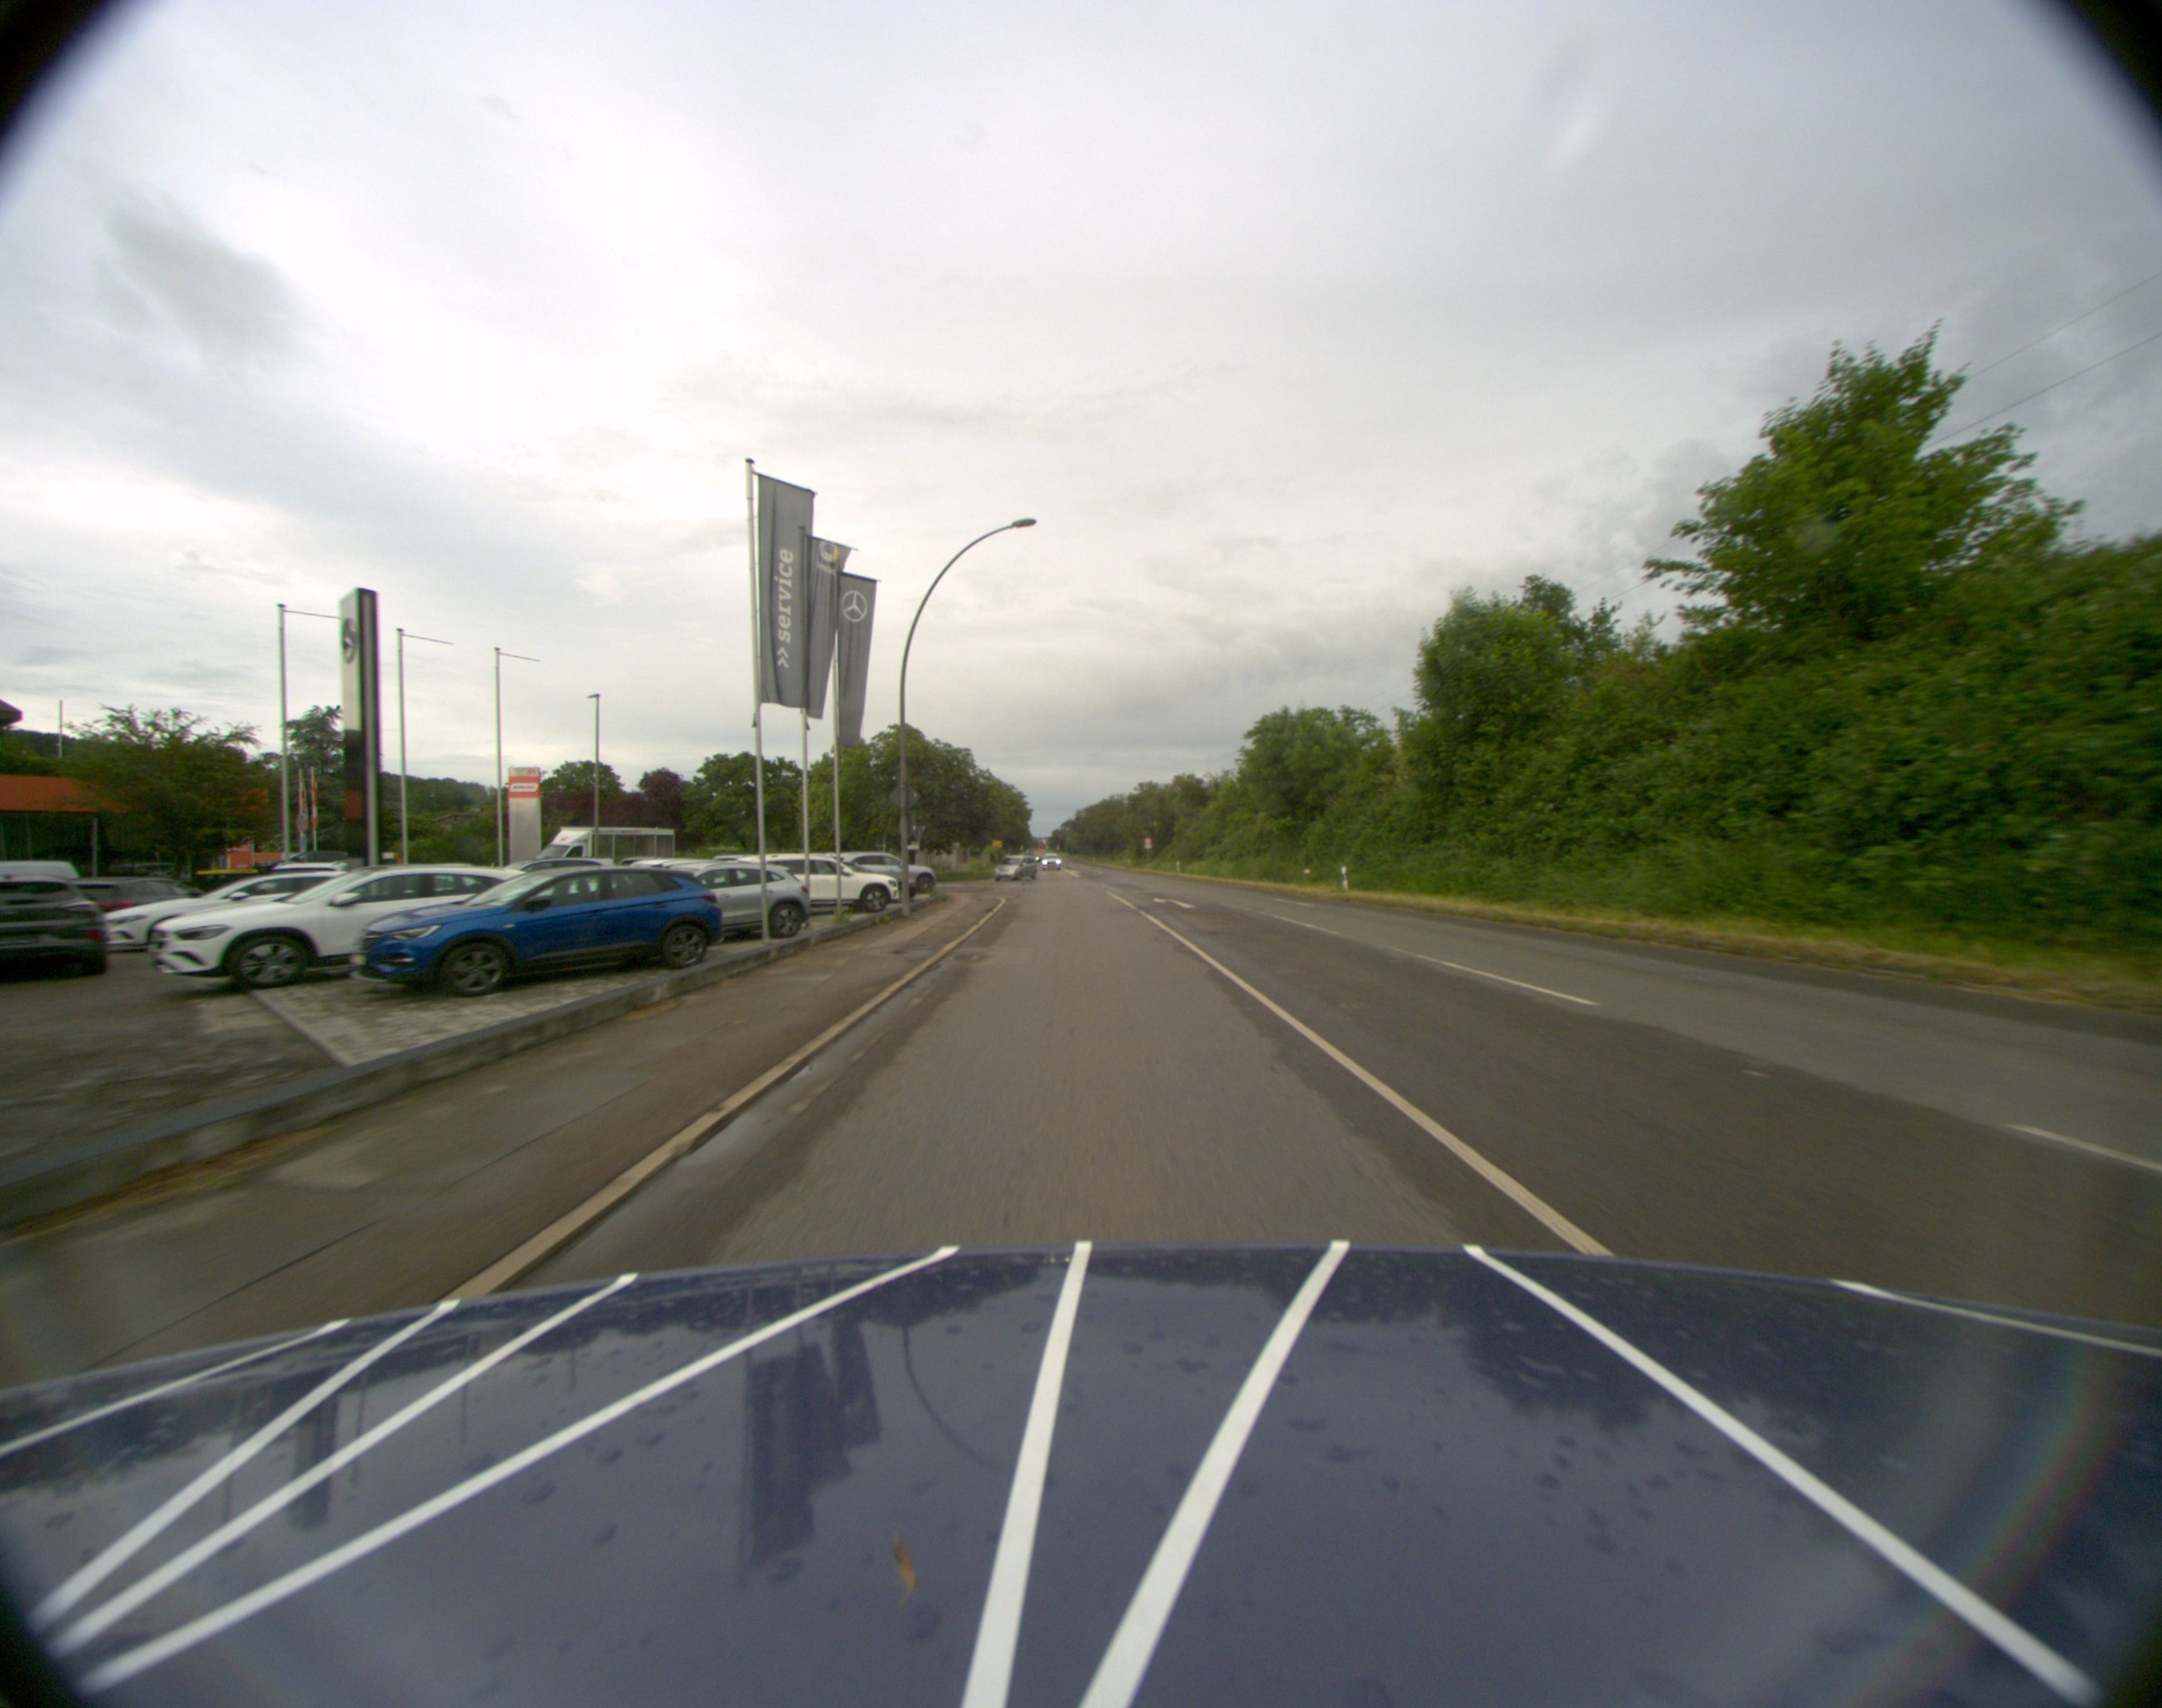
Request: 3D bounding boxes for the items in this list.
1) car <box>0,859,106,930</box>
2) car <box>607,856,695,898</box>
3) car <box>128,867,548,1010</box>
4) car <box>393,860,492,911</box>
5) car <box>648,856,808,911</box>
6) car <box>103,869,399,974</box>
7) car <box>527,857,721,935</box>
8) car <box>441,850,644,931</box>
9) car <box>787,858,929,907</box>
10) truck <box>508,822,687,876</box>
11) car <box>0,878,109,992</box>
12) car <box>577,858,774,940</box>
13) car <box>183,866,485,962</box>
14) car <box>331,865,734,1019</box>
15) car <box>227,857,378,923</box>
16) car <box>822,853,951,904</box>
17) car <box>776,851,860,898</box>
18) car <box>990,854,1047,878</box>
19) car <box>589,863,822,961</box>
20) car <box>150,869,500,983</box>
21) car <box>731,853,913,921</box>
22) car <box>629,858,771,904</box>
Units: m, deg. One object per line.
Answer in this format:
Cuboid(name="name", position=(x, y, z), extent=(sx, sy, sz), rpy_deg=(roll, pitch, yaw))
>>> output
Cuboid(name="car", position=(-32.931, 1.314, 22.550), extent=(1.829, 2.002, 4.456), rpy_deg=(-3, 2, 24))
Cuboid(name="car", position=(-16.536, 0.842, 29.476), extent=(2.076, 1.452, 4.758), rpy_deg=(-1, -1, -19))
Cuboid(name="car", position=(-10.801, 1.066, 11.435), extent=(1.727, 1.590, 4.187), rpy_deg=(0, 1, 31))
Cuboid(name="car", position=(-20.059, 0.954, 24.022), extent=(1.775, 1.452, 3.991), rpy_deg=(-1, -1, -31))
Cuboid(name="car", position=(-11.349, 0.899, 24.779), extent=(1.961, 1.490, 4.372), rpy_deg=(-2, 1, 27))
Cuboid(name="car", position=(-17.689, 1.345, 16.406), extent=(1.767, 1.632, 3.993), rpy_deg=(-2, 3, 35))
Cuboid(name="car", position=(-11.733, 0.988, 19.751), extent=(1.676, 1.447, 3.929), rpy_deg=(5, 7, 38))
Cuboid(name="car", position=(-14.392, 0.905, 20.539), extent=(1.674, 1.711, 4.006), rpy_deg=(-2, 3, 35))
Cuboid(name="car", position=(-7.326, 0.879, 25.074), extent=(4.148, 1.386, 1.847), rpy_deg=(-2, 1, -31))
Cuboid(name="truck", position=(-27.253, -0.398, 43.486), extent=(2.783, 2.608, 8.484), rpy_deg=(-3, 1, 21))
Cuboid(name="car", position=(-16.231, 1.157, 11.513), extent=(3.552, 1.469, 1.784), rpy_deg=(0, 1, 37))
Cuboid(name="car", position=(-9.093, 0.920, 17.283), extent=(1.659, 1.590, 3.566), rpy_deg=(1, 1, 36))
Cuboid(name="car", position=(-14.899, 1.093, 15.398), extent=(1.898, 1.536, 4.008), rpy_deg=(-1, 0, 33))
Cuboid(name="car", position=(-7.650, 1.050, 11.067), extent=(1.838, 1.623, 4.375), rpy_deg=(1, 2, 36))
Cuboid(name="car", position=(-20.505, 0.899, 20.196), extent=(1.775, 1.542, 3.443), rpy_deg=(-1, -1, -27))
Cuboid(name="car", position=(-7.382, 0.884, 29.160), extent=(1.961, 1.661, 4.373), rpy_deg=(-1, 1, 41))
Cuboid(name="car", position=(-10.696, 0.767, 31.281), extent=(1.812, 1.663, 4.708), rpy_deg=(-2, 1, 0))
Cuboid(name="car", position=(-4.170, 0.789, 51.058), extent=(1.995, 1.537, 4.007), rpy_deg=(0, 0, 26))
Cuboid(name="car", position=(-7.390, 1.033, 15.279), extent=(1.727, 1.590, 3.822), rpy_deg=(1, 1, 37))
Cuboid(name="car", position=(-12.946, 1.106, 13.274), extent=(1.898, 1.536, 4.008), rpy_deg=(-1, 0, 34))
Cuboid(name="car", position=(-7.231, 0.844, 21.410), extent=(4.435, 1.643, 1.922), rpy_deg=(-2, 1, -36))
Cuboid(name="car", position=(-13.384, 0.916, 26.845), extent=(4.133, 1.452, 1.767), rpy_deg=(-1, -1, -44))
